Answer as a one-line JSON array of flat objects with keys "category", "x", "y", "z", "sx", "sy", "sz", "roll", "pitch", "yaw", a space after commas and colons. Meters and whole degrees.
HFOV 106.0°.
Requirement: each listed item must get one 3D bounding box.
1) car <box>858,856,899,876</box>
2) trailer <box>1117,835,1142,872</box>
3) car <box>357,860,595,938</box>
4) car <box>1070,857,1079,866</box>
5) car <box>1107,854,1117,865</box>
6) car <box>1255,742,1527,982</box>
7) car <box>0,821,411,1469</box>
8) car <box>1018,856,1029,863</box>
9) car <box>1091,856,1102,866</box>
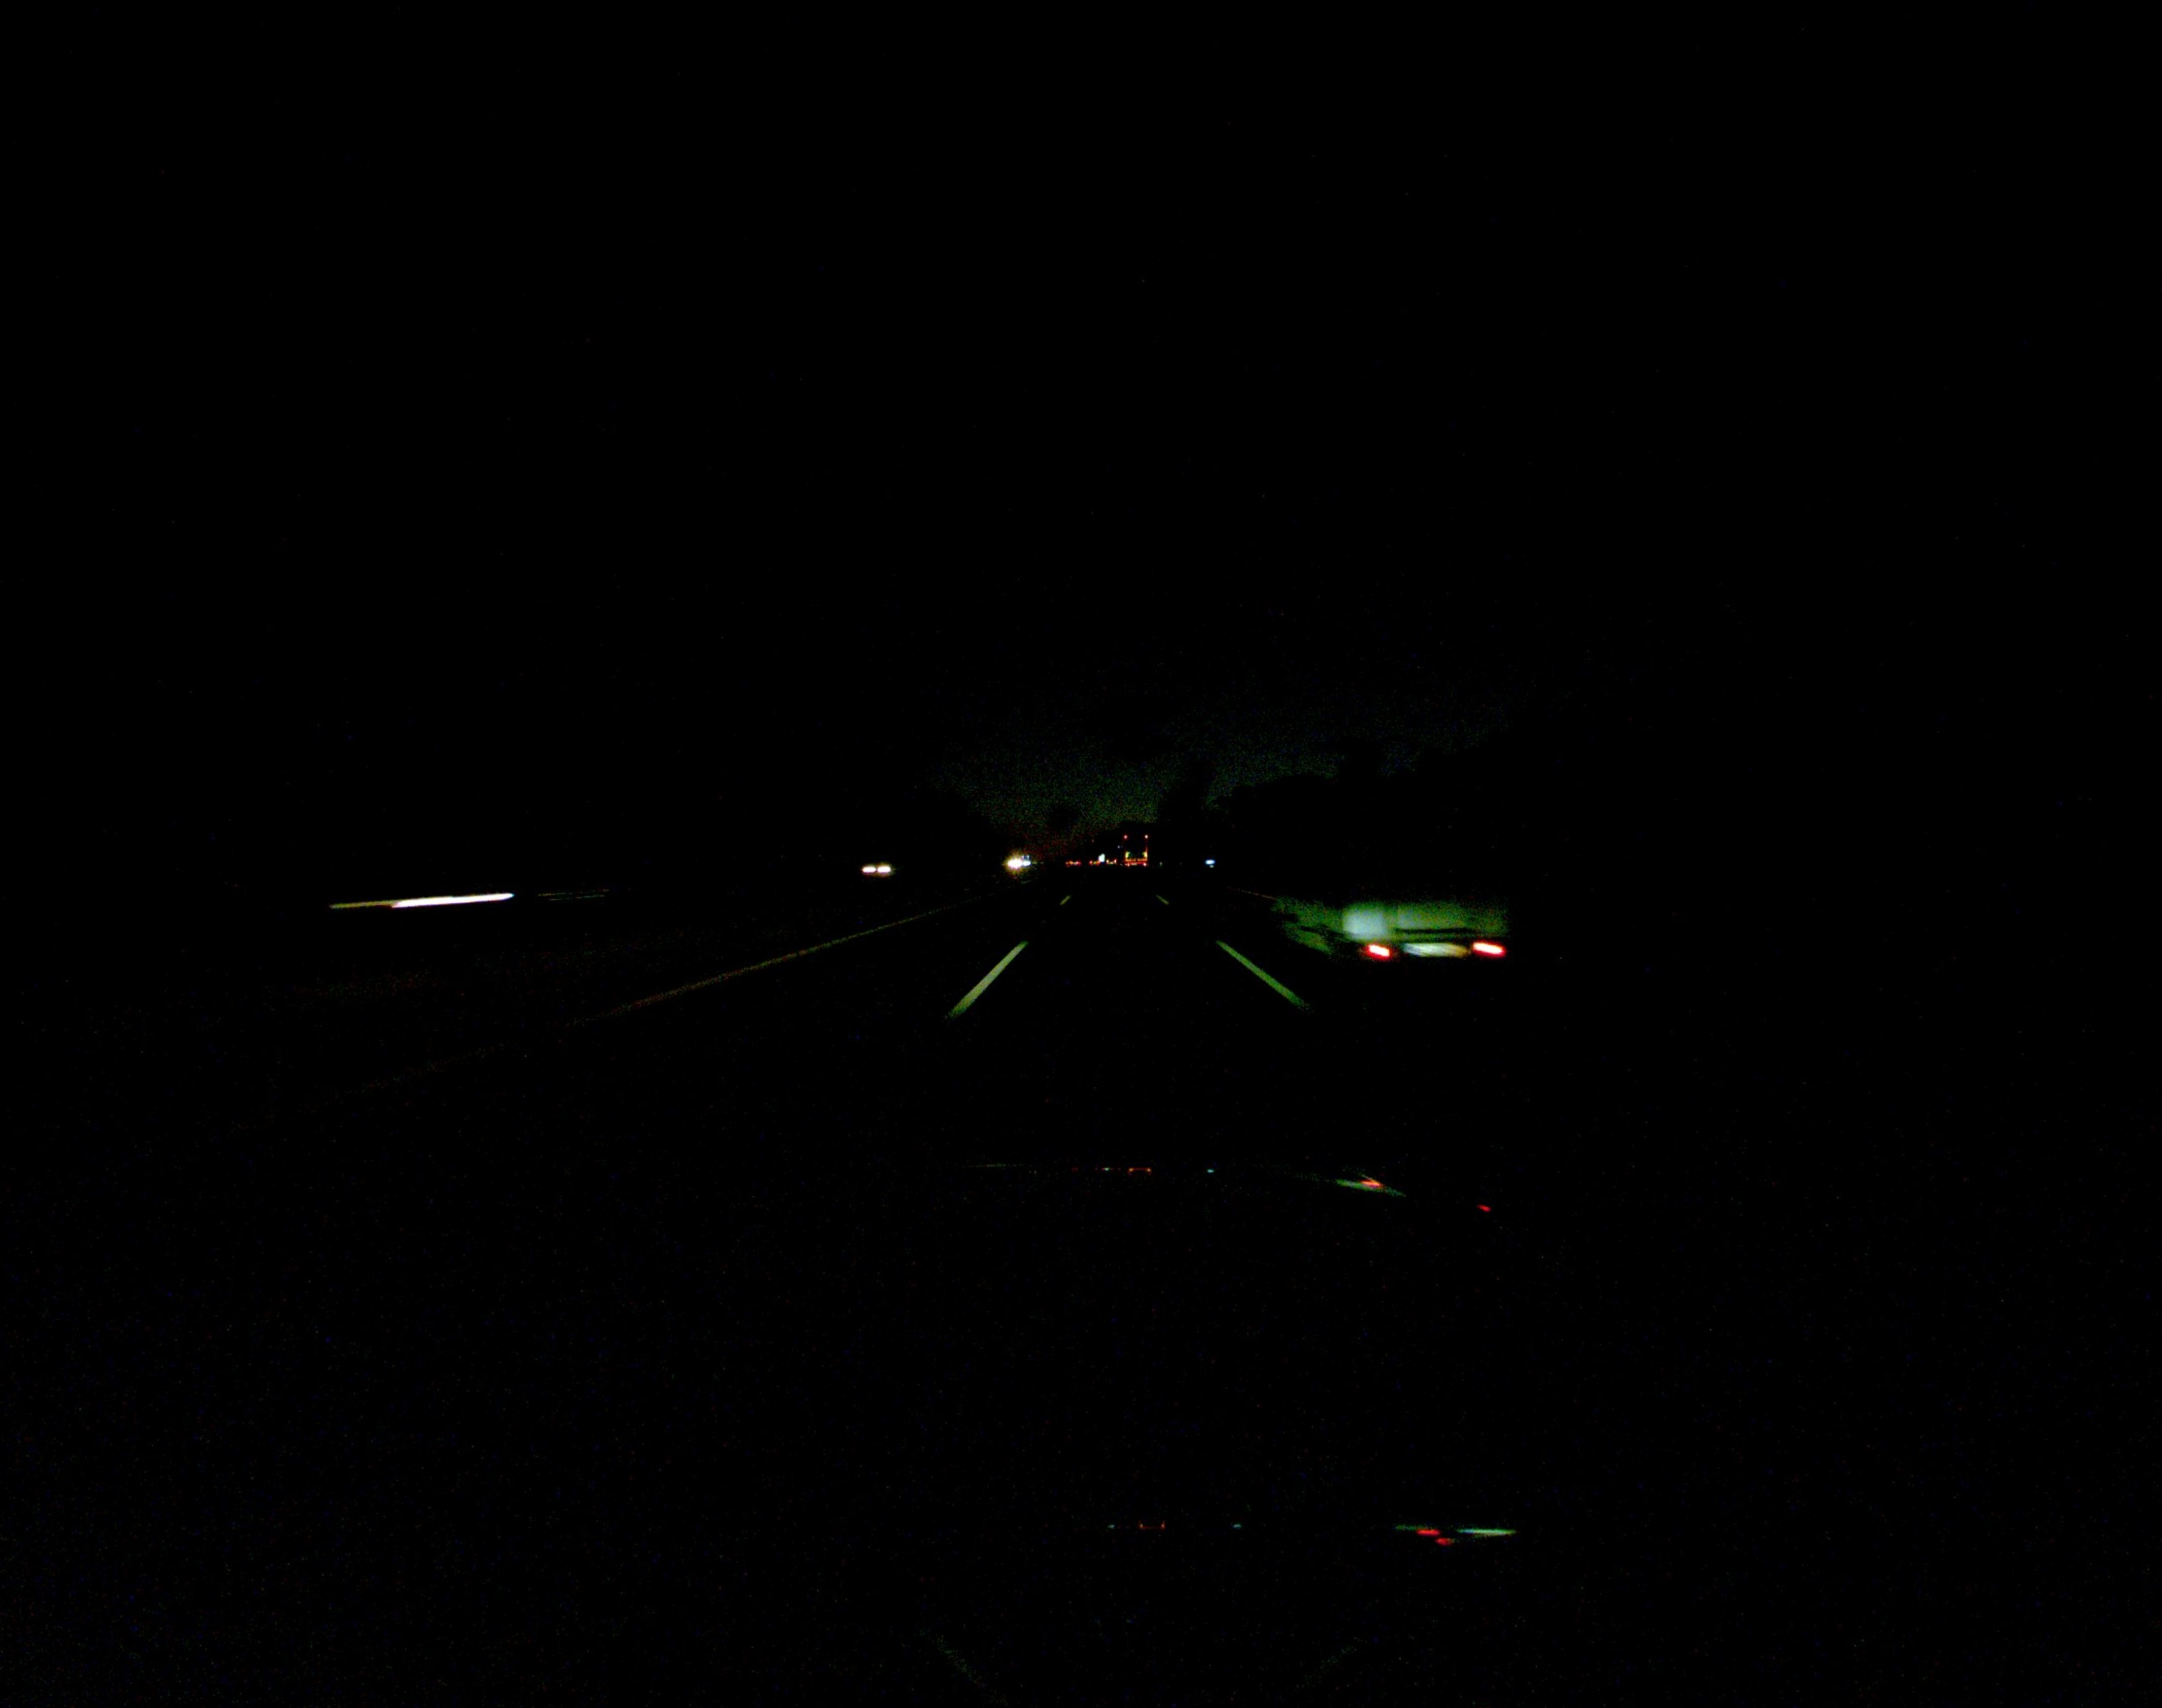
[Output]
[{"category": "car", "x": -17.640, "y": 1.008, "z": 71.129, "sx": 2.236, "sy": 1.668, "sz": 4.888, "roll": -1, "pitch": 0, "yaw": 1}, {"category": "trailer", "x": 6.017, "y": 0.017, "z": 102.960, "sx": 2.818, "sy": 4.257, "sz": 17.056, "roll": -1, "pitch": -1, "yaw": 2}, {"category": "car", "x": -14.790, "y": 0.997, "z": 20.373, "sx": 2.236, "sy": 1.668, "sz": 4.890, "roll": -1, "pitch": 0, "yaw": 1}, {"category": "car", "x": -1.360, "y": 1.582, "z": 176.230, "sx": 1.988, "sy": 1.794, "sz": 3.998, "roll": -1, "pitch": -2, "yaw": -1}, {"category": "car", "x": 6.442, "y": 1.162, "z": 171.028, "sx": 1.986, "sy": 2.117, "sz": 4.000, "roll": -1, "pitch": -2, "yaw": 1}, {"category": "car", "x": 4.053, "y": 0.104, "z": 11.910, "sx": 2.024, "sy": 2.647, "sz": 5.729, "roll": -1, "pitch": 0, "yaw": 3}, {"category": "car", "x": -3.599, "y": 0.713, "z": 0.212, "sx": 1.986, "sy": 1.518, "sz": 5.654, "roll": 0, "pitch": 1, "yaw": 2}, {"category": "car", "x": -13.384, "y": 1.203, "z": 190.969, "sx": 2.237, "sy": 1.598, "sz": 4.885, "roll": -1, "pitch": 0, "yaw": -1}, {"category": "car", "x": 3.006, "y": 1.257, "z": 153.650, "sx": 1.986, "sy": 1.794, "sz": 4.002, "roll": -1, "pitch": -2, "yaw": 2}]
